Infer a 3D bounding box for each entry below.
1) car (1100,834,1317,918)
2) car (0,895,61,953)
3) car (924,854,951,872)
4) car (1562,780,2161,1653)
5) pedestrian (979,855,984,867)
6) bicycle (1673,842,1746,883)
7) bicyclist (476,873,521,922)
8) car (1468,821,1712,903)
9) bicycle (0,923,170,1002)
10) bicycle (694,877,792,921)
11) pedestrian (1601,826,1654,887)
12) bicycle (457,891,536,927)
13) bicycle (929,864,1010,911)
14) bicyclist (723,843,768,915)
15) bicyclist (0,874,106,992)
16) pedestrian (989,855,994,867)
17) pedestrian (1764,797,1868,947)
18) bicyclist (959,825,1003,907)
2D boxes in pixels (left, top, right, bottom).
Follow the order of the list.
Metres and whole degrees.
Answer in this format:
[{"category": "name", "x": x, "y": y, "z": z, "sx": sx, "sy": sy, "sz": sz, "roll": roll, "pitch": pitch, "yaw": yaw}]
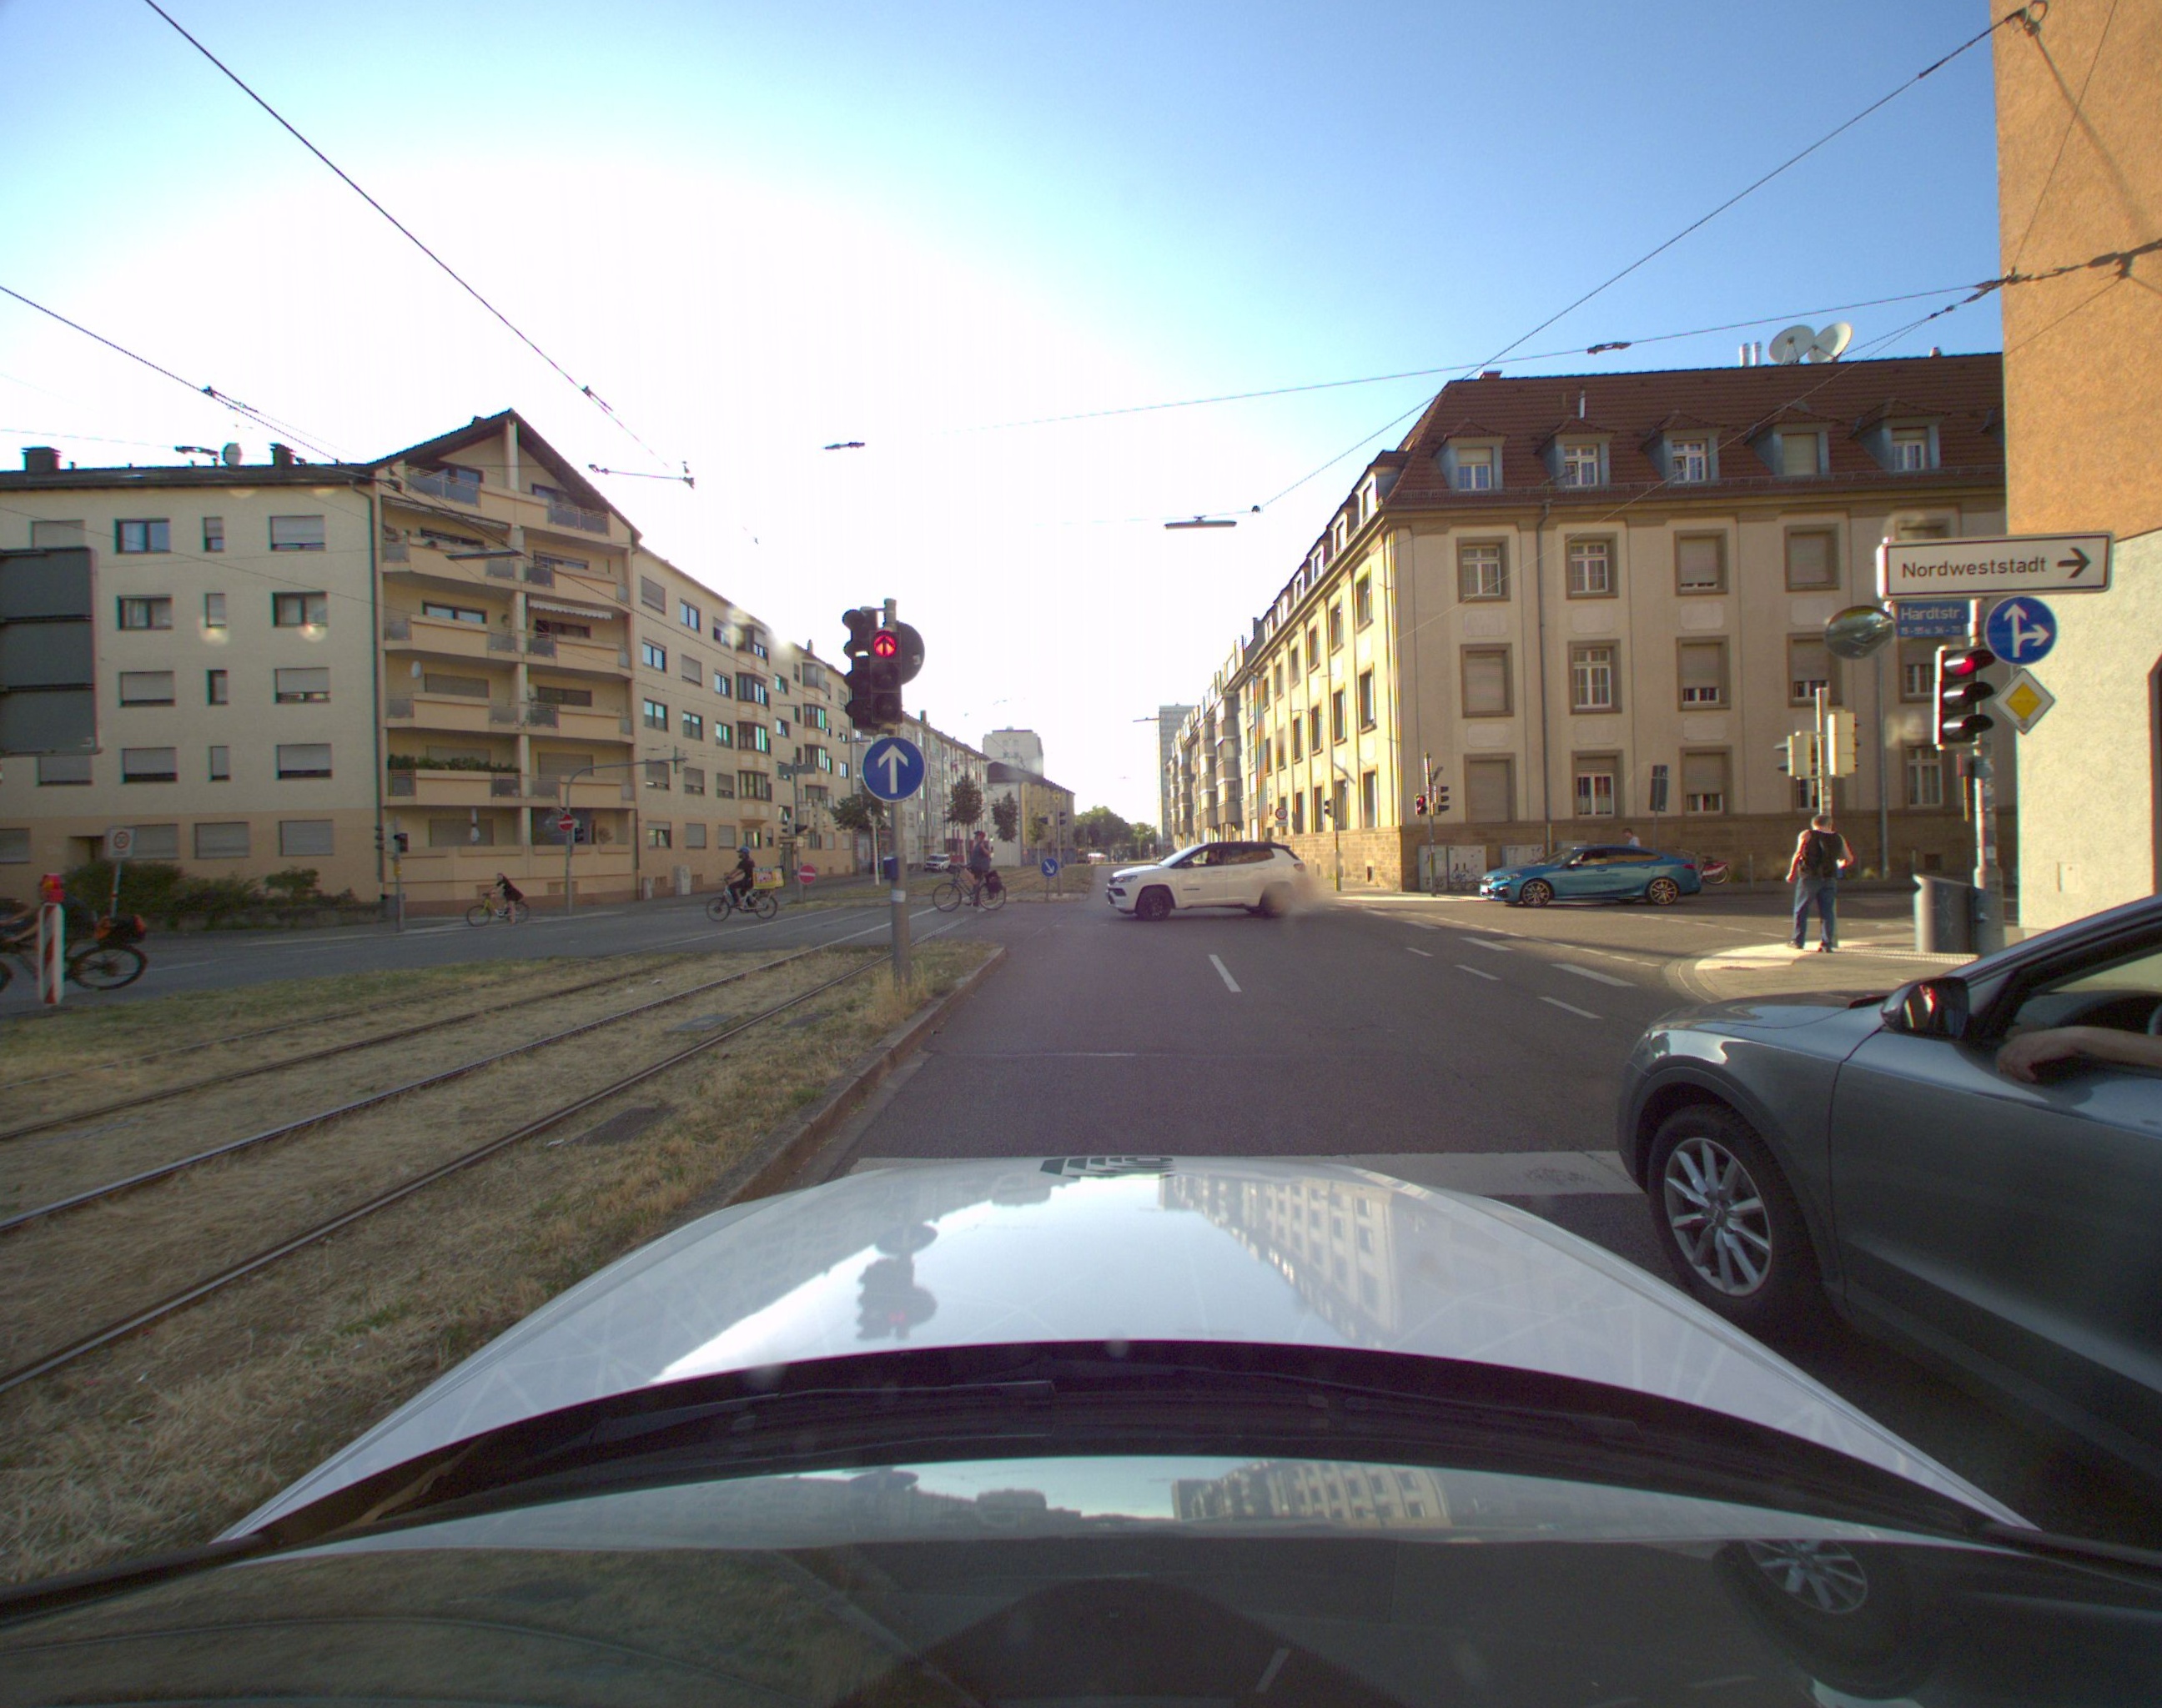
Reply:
[{"category": "car", "x": 2.716, "y": 0.464, "z": 18.071, "sx": 4.410, "sy": 1.641, "sz": 1.997, "roll": -1, "pitch": 0, "yaw": -5}, {"category": "car", "x": -30.161, "y": 1.935, "z": 21.406, "sx": 3.956, "sy": 1.440, "sz": 1.785, "roll": -3, "pitch": 0, "yaw": -9}, {"category": "car", "x": -14.407, "y": 0.900, "z": 81.962, "sx": 1.804, "sy": 1.798, "sz": 4.248, "roll": 0, "pitch": -1, "yaw": 3}, {"category": "car", "x": 2.799, "y": 0.625, "z": 1.252, "sx": 1.763, "sy": 1.575, "sz": 4.087, "roll": -2, "pitch": 0, "yaw": 2}, {"category": "pedestrian", "x": -13.556, "y": 0.937, "z": 111.168, "sx": 0.493, "sy": 1.658, "sz": 0.409, "roll": -2, "pitch": 0, "yaw": 2}, {"category": "bicycle", "x": 18.446, "y": 0.244, "z": 23.918, "sx": 1.556, "sy": 1.117, "sz": 0.669, "roll": -2, "pitch": 0, "yaw": 2}, {"category": "bicyclist", "x": -18.160, "y": 1.355, "z": 25.408, "sx": 0.522, "sy": 1.447, "sz": 0.971, "roll": -2, "pitch": 0, "yaw": 32}, {"category": "car", "x": 11.845, "y": 0.207, "z": 19.247, "sx": 4.434, "sy": 1.729, "sz": 2.005, "roll": -2, "pitch": -1, "yaw": 8}, {"category": "bicycle", "x": -14.377, "y": 1.512, "z": 11.440, "sx": 0.776, "sy": 0.894, "sz": 1.997, "roll": -2, "pitch": 0, "yaw": 33}, {"category": "bicycle", "x": -8.320, "y": 1.105, "z": 20.122, "sx": 2.066, "sy": 0.958, "sz": 0.746, "roll": -2, "pitch": 0, "yaw": -1}, {"category": "pedestrian", "x": 15.724, "y": 0.074, "z": 23.446, "sx": 1.033, "sy": 1.682, "sz": 0.669, "roll": -2, "pitch": 0, "yaw": 1}, {"category": "bicycle", "x": -18.172, "y": 1.698, "z": 25.366, "sx": 0.522, "sy": 0.984, "sz": 1.895, "roll": -2, "pitch": 0, "yaw": 32}, {"category": "bicycle", "x": -2.812, "y": 0.843, "z": 20.699, "sx": 1.938, "sy": 1.094, "sz": 0.575, "roll": -2, "pitch": 0, "yaw": -1}, {"category": "bicyclist", "x": -8.274, "y": 0.602, "z": 20.130, "sx": 0.791, "sy": 1.753, "sz": 0.720, "roll": 0, "pitch": -1, "yaw": 0}, {"category": "bicyclist", "x": -14.419, "y": 1.070, "z": 11.385, "sx": 0.639, "sy": 1.526, "sz": 0.912, "roll": -2, "pitch": 0, "yaw": 33}, {"category": "pedestrian", "x": -12.279, "y": 0.987, "z": 111.817, "sx": 0.493, "sy": 1.658, "sz": 0.409, "roll": -2, "pitch": 0, "yaw": 2}, {"category": "pedestrian", "x": 9.500, "y": 0.226, "z": 10.551, "sx": 0.690, "sy": 1.875, "sz": 0.718, "roll": 0, "pitch": -1, "yaw": 1}, {"category": "bicyclist", "x": -2.521, "y": 0.299, "z": 20.665, "sx": 0.957, "sy": 1.988, "sz": 0.672, "roll": -2, "pitch": 0, "yaw": -1}]
